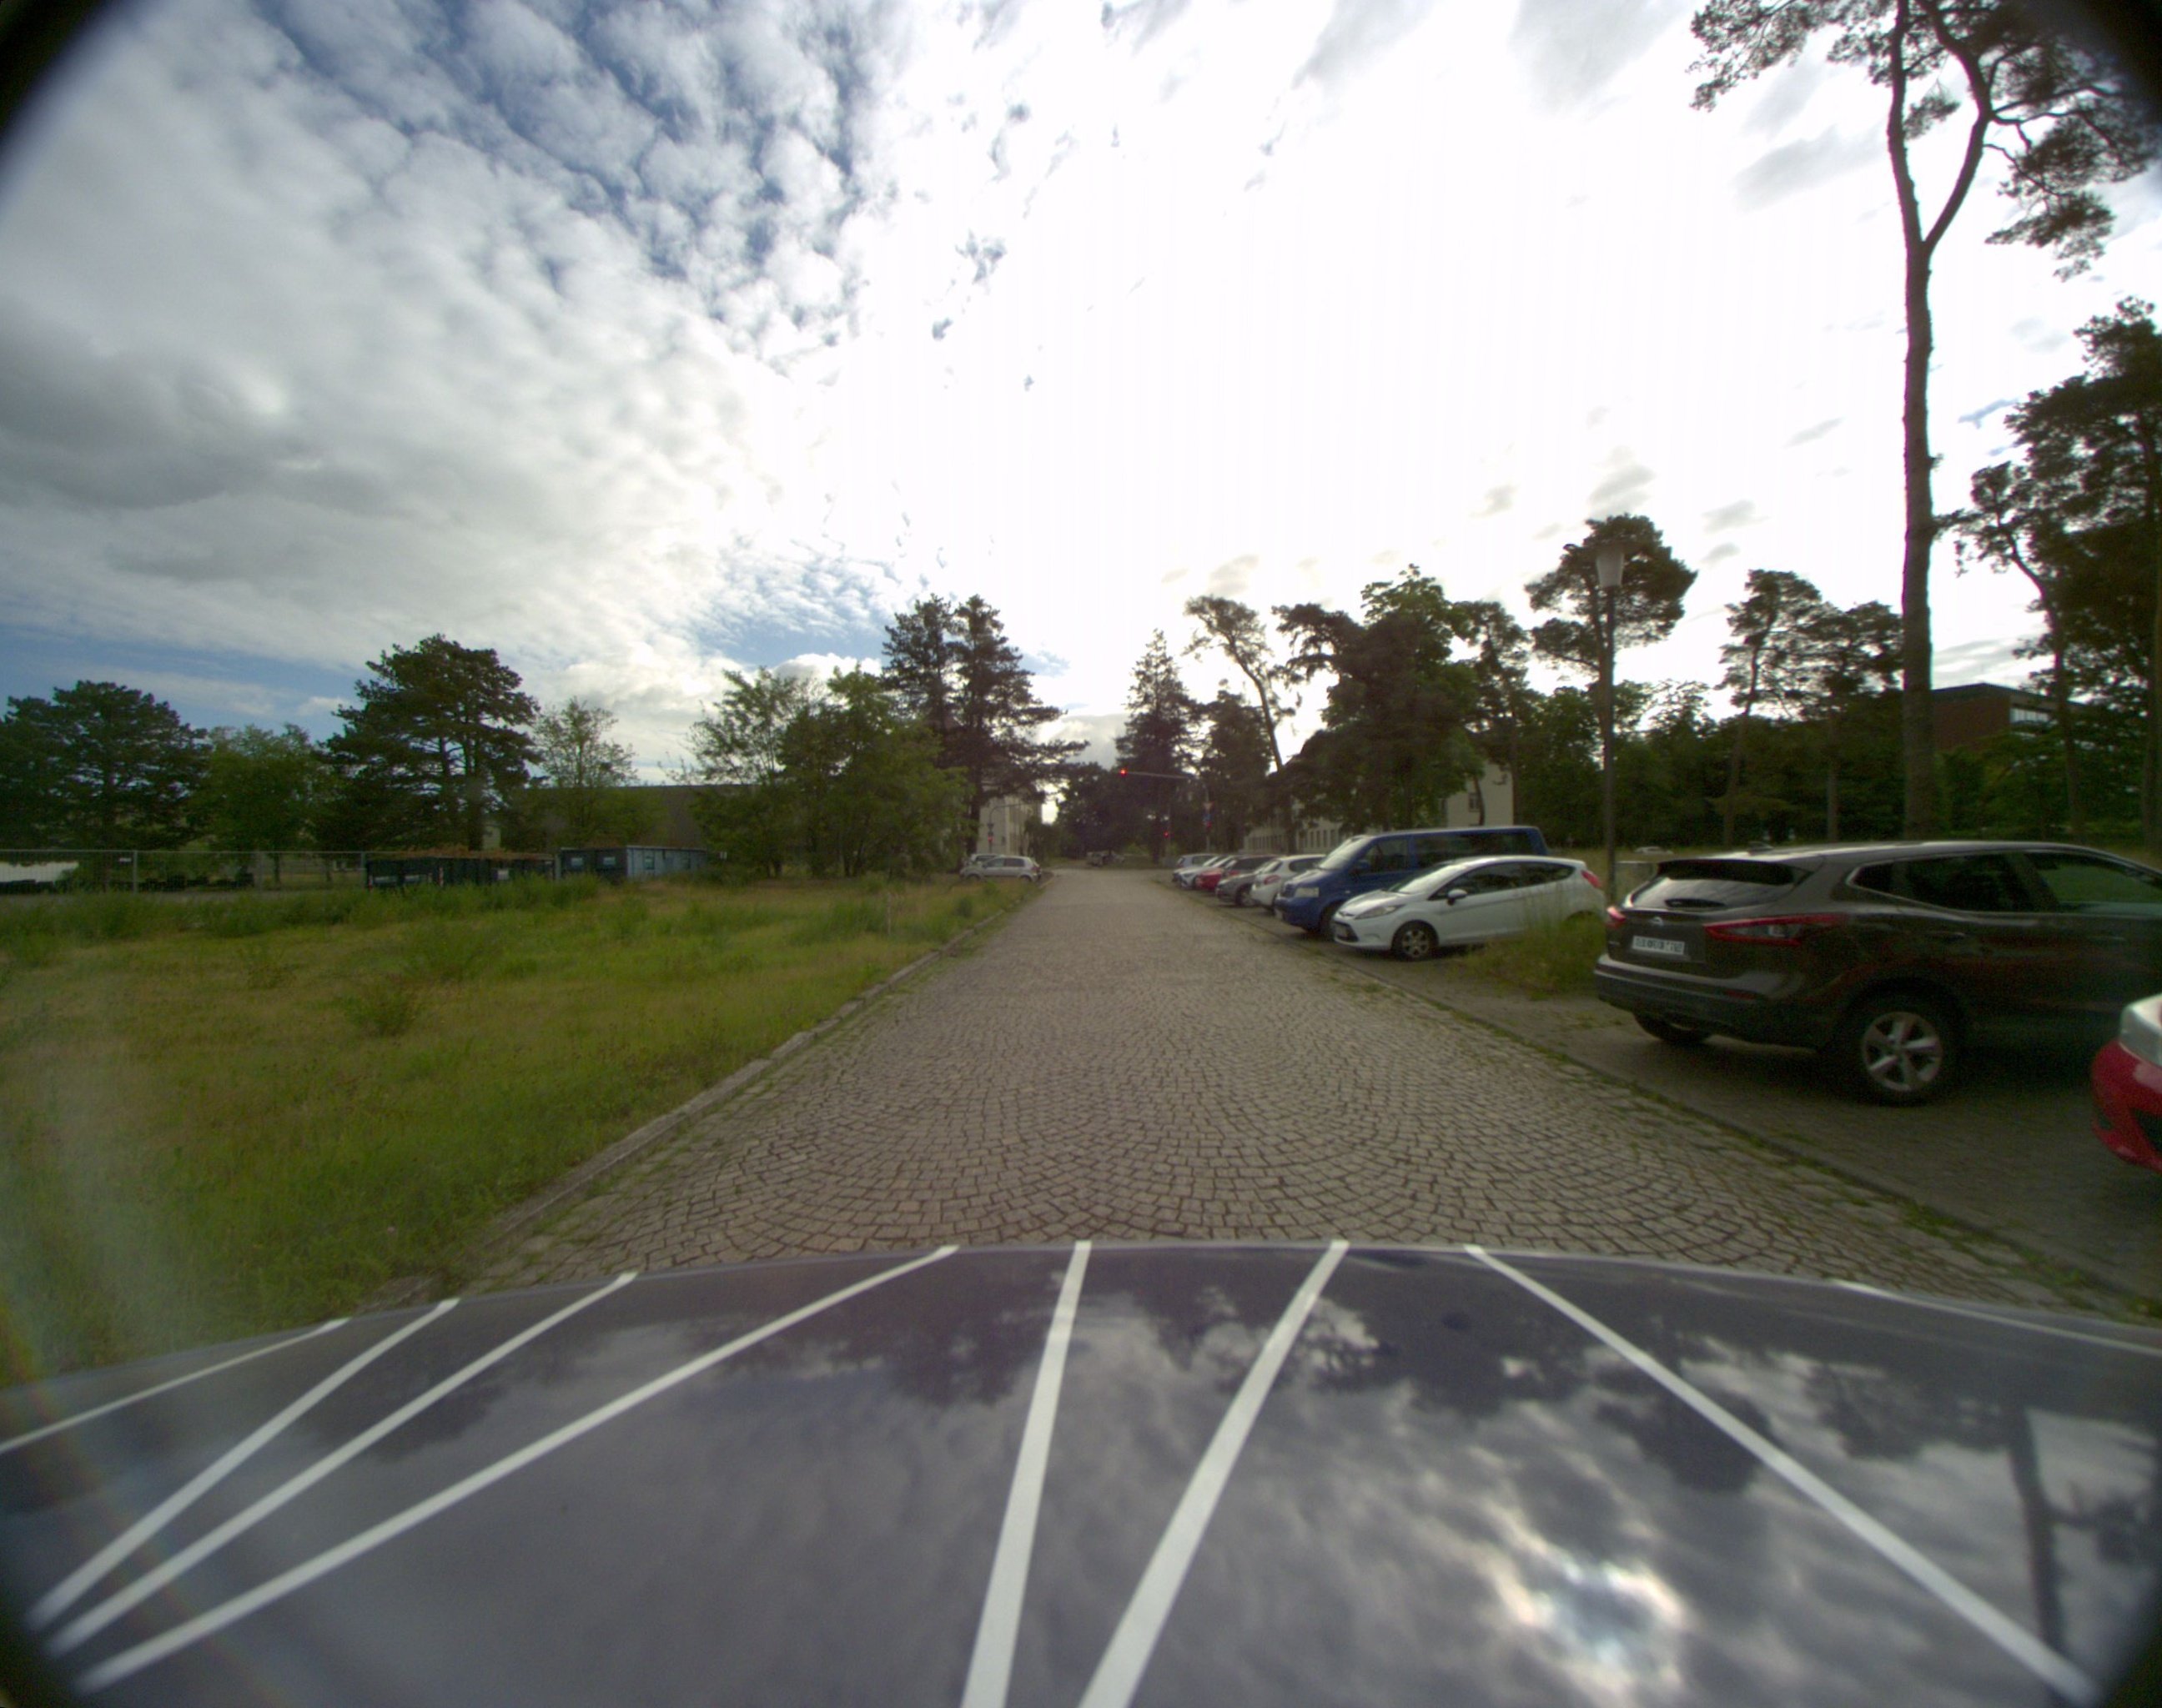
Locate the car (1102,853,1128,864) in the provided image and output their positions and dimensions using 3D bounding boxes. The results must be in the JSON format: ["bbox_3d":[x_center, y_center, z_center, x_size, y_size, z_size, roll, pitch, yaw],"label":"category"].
[{"bbox_3d":[4.553,0.580,101.664,3.439,1.440,1.913,-1,0,-1],"label":"car"}]

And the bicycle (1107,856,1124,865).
[{"bbox_3d":[4.015,0.743,87.959,1.951,1.059,0.562,-1,1,-1],"label":"bicycle"}]

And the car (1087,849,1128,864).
[{"bbox_3d":[3.623,0.333,105.310,5.366,1.987,2.289,-1,0,-7],"label":"car"}]

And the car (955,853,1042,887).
[{"bbox_3d":[-3.989,0.785,37.240,4.084,1.506,1.804,2,0,-2],"label":"car"}]

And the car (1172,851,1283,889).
[{"bbox_3d":[6.219,0.680,32.649,4.385,1.499,1.935,-1,0,-1],"label":"car"}]

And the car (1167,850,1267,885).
[{"bbox_3d":[6.273,0.610,35.392,4.262,1.539,1.935,-1,0,-3],"label":"car"}]

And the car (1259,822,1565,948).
[{"bbox_3d":[6.003,0.544,14.261,4.794,2.110,2.115,-1,0,0],"label":"car"}]

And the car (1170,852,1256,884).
[{"bbox_3d":[6.576,0.681,38.120,3.997,1.534,1.905,-1,0,0],"label":"car"}]

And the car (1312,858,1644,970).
[{"bbox_3d":[5.920,0.855,11.677,4.177,1.501,1.781,-1,0,-1],"label":"car"}]

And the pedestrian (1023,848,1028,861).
[{"bbox_3d":[-7.490,0.081,102.451,0.568,1.691,0.532,-1,1,4],"label":"pedestrian"}]

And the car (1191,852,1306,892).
[{"bbox_3d":[6.602,0.709,30.346,4.176,1.468,1.864,-1,0,0],"label":"car"}]

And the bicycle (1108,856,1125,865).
[{"bbox_3d":[4.108,0.731,88.606,1.951,1.059,0.562,-1,1,-1],"label":"bicycle"}]

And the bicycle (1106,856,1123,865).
[{"bbox_3d":[3.865,0.762,86.877,1.898,1.059,0.616,-1,1,-1],"label":"bicycle"}]

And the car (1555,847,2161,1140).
[{"bbox_3d":[6.058,0.788,5.380,4.177,1.613,1.986,-1,0,-2],"label":"car"}]

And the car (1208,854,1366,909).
[{"bbox_3d":[5.978,0.772,22.399,4.176,1.483,1.865,-1,0,2],"label":"car"}]

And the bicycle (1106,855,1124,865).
[{"bbox_3d":[3.927,0.729,87.431,1.951,1.104,0.562,-1,1,-1],"label":"bicycle"}]

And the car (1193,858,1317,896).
[{"bbox_3d":[6.328,0.819,27.979,4.176,1.259,1.831,-1,0,2],"label":"car"}]

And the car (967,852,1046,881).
[{"bbox_3d":[-4.360,0.718,45.224,4.504,1.556,1.905,2,0,-2],"label":"car"}]

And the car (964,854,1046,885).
[{"bbox_3d":[-3.942,0.808,39.949,4.084,1.444,1.885,2,0,-2],"label":"car"}]

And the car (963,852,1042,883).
[{"bbox_3d":[-4.336,0.726,42.671,4.251,1.587,1.884,2,0,-3],"label":"car"}]

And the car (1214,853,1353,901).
[{"bbox_3d":[6.655,0.724,25.317,4.176,1.473,1.846,-1,0,2],"label":"car"}]

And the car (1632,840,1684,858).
[{"bbox_3d":[60.247,-0.551,79.392,3.996,1.796,1.722,-1,0,4],"label":"car"}]

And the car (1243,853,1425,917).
[{"bbox_3d":[6.389,0.762,19.552,4.077,1.488,1.846,-1,0,2],"label":"car"}]

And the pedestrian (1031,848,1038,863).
[{"bbox_3d":[-6.258,0.213,101.258,0.589,1.926,0.792,-1,1,-32],"label":"pedestrian"}]

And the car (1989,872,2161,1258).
[{"bbox_3d":[6.357,0.814,2.635,4.177,1.501,1.907,-1,0,0],"label":"car"}]

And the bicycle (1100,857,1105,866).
[{"bbox_3d":[2.330,0.807,83.476,0.459,0.903,1.663,-1,0,4],"label":"bicycle"}]
